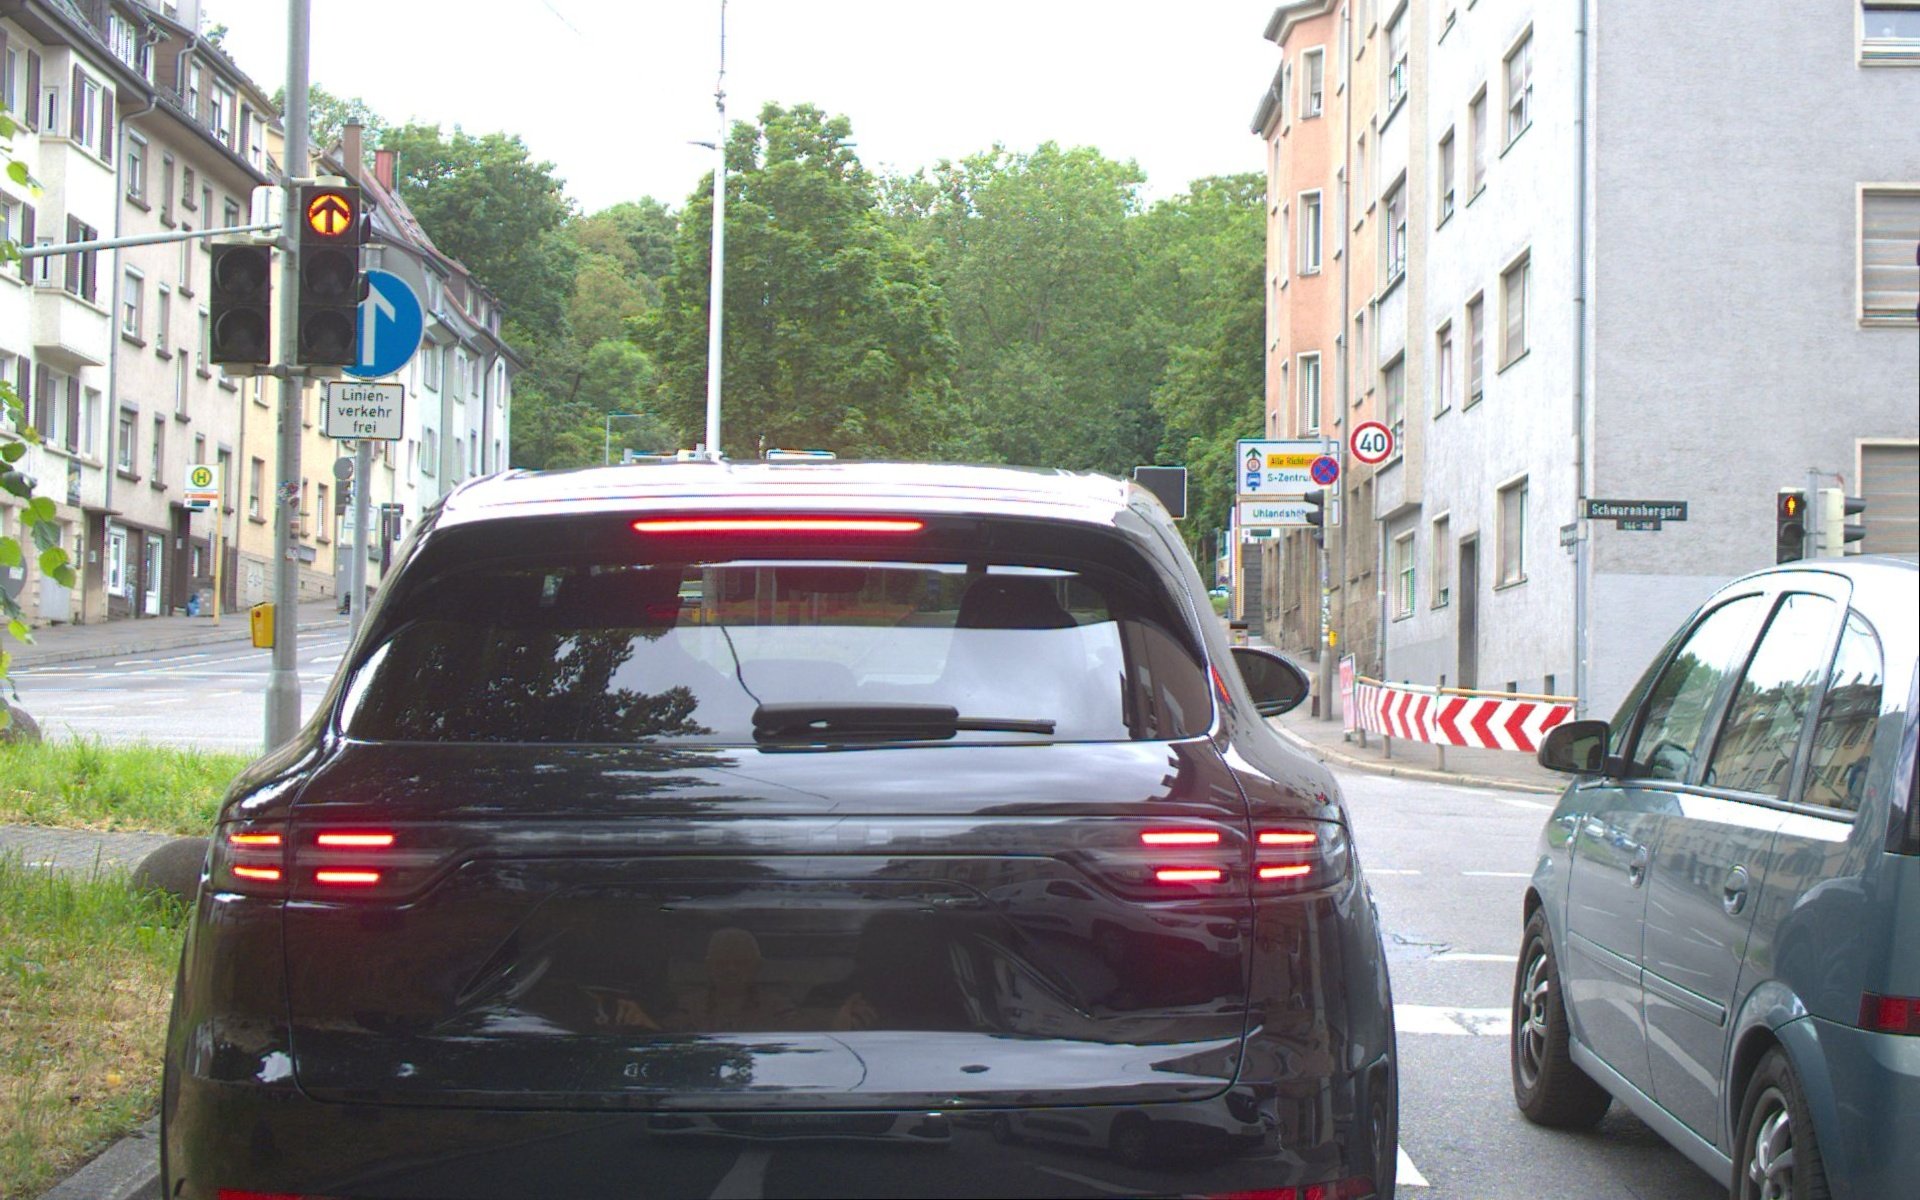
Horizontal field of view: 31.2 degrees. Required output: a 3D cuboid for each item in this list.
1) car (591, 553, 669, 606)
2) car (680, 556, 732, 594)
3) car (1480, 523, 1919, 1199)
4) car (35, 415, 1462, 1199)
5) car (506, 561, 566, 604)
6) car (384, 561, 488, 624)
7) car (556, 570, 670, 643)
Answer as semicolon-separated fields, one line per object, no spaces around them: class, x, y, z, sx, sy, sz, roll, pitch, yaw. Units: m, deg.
car;-10.193;-0.645;106.402;1.974;1.605;4.558;1;1;0
car;-10.156;-0.991;137.700;1.619;1.475;3.823;1;-1;3
car;2.353;0.694;7.867;1.628;1.592;3.669;4;1;-1
car;-0.312;0.563;6.720;1.955;1.669;4.000;0;1;-1
car;-15.384;-0.653;124.952;1.689;1.533;3.814;1;1;0
car;-12.797;-0.200;84.111;1.844;1.481;3.898;1;1;1
car;-6.926;0.110;68.949;1.862;1.383;4.094;1;1;0
